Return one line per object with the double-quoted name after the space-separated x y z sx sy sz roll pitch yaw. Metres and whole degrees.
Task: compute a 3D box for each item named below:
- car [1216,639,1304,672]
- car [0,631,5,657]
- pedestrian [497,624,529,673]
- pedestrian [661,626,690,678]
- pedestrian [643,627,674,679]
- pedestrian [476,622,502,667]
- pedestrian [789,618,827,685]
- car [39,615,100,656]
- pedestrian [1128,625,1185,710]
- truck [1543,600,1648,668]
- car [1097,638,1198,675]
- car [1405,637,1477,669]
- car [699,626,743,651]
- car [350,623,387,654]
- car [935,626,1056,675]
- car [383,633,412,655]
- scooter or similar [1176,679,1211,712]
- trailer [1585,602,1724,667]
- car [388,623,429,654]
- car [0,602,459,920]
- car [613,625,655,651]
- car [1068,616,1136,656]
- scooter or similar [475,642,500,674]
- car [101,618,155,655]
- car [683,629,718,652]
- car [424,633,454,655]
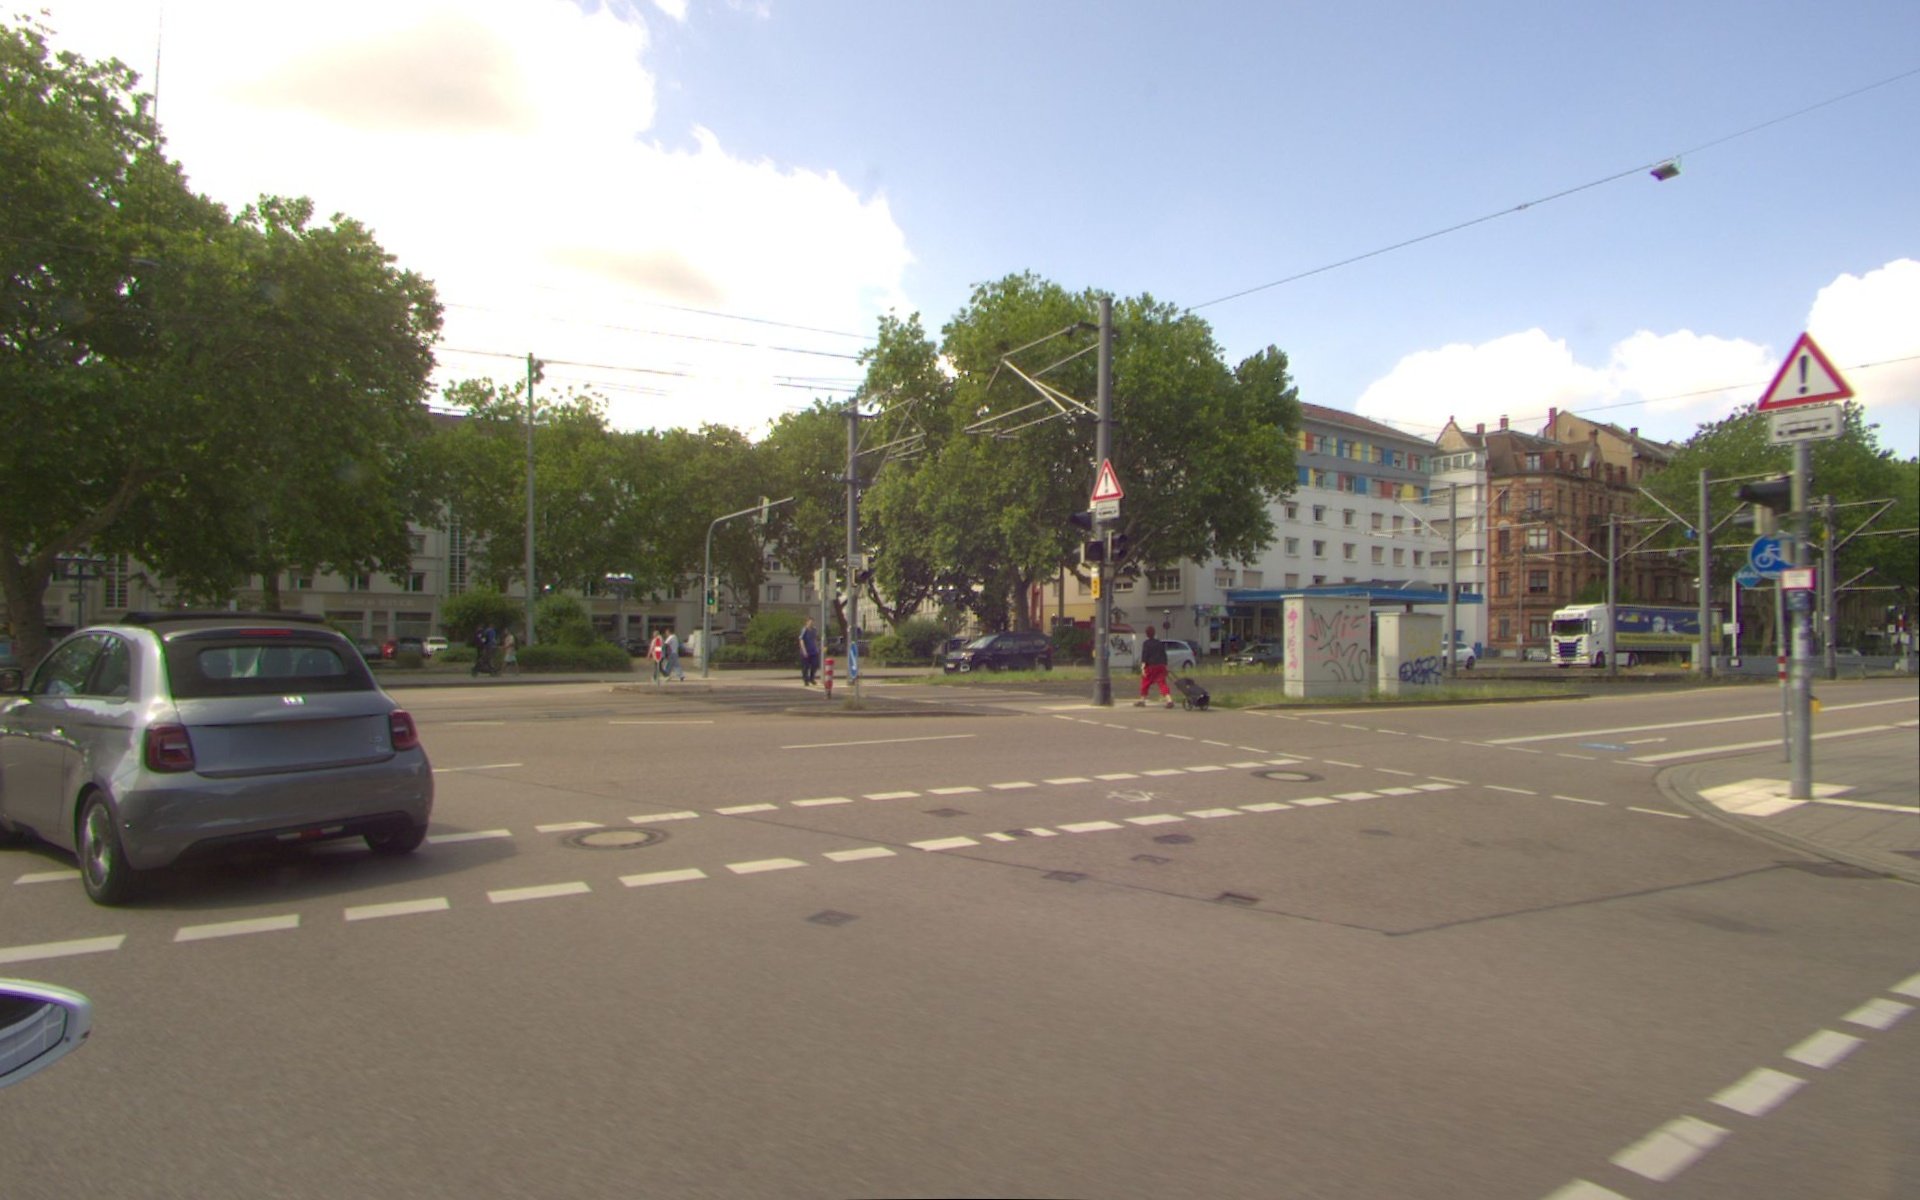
14.008 2.552 46.687 3.920 1.465 1.844 1 -2 -33 "car"
-62.016 2.797 63.710 1.453 1.687 3.044 2 -3 -38 "car"
-15.303 1.666 34.314 0.910 1.667 0.567 1 -1 -33 "pedestrian"
-9.822 1.785 34.532 0.683 1.786 0.667 0 -1 32 "pedestrian"
-10.206 1.785 33.918 0.682 1.744 0.716 0 -1 32 "pedestrian"
-18.926 1.774 40.248 0.597 1.773 0.695 0 -1 32 "pedestrian"
-4.072 1.360 26.779 0.734 1.753 0.767 1 -1 -34 "pedestrian"
-50.872 2.042 57.289 1.974 2.210 4.232 2 -3 -33 "car"
3.643 1.240 18.586 0.767 1.511 0.652 2 0 44 "pedestrian"
41.280 2.236 65.013 6.493 4.202 2.905 1 -2 -28 "truck"
8.026 2.392 42.690 4.271 1.484 1.724 2 -2 -34 "car"
27.076 2.969 56.314 4.080 1.727 1.843 2 -2 -33 "car"
-19.122 3.072 79.994 2.075 1.929 4.467 1 -2 -32 "car"
-39.380 2.572 66.634 1.973 2.039 3.978 1 -2 -32 "car"
1.372 1.916 38.193 4.360 1.748 1.843 2 -2 -33 "car"
-43.004 3.350 76.542 1.721 1.658 3.978 1 -2 -32 "car"
4.232 1.732 18.139 0.516 0.543 0.308 1 0 44 "scooter or similar"
47.494 2.372 68.334 11.478 4.129 2.905 1 -2 -28 "trailer"
-37.460 2.637 68.009 1.975 2.039 3.974 1 -2 -35 "car"
-5.049 0.824 6.587 3.420 1.557 1.688 0 -2 34 "car"
-24.910 2.924 76.352 2.075 1.929 4.467 1 -2 -32 "car"
9.032 2.319 63.690 3.947 2.451 2.100 1 -2 -33 "car"
-15.996 1.957 33.882 0.699 1.069 0.488 1 -2 -33 "scooter or similar"
-49.115 2.172 59.196 1.974 2.102 3.977 2 -3 -33 "car"
-23.344 3.639 90.044 1.973 1.989 3.978 1 -2 -32 "car"
-40.631 3.412 78.068 1.721 1.658 3.978 1 -2 -32 "car"
